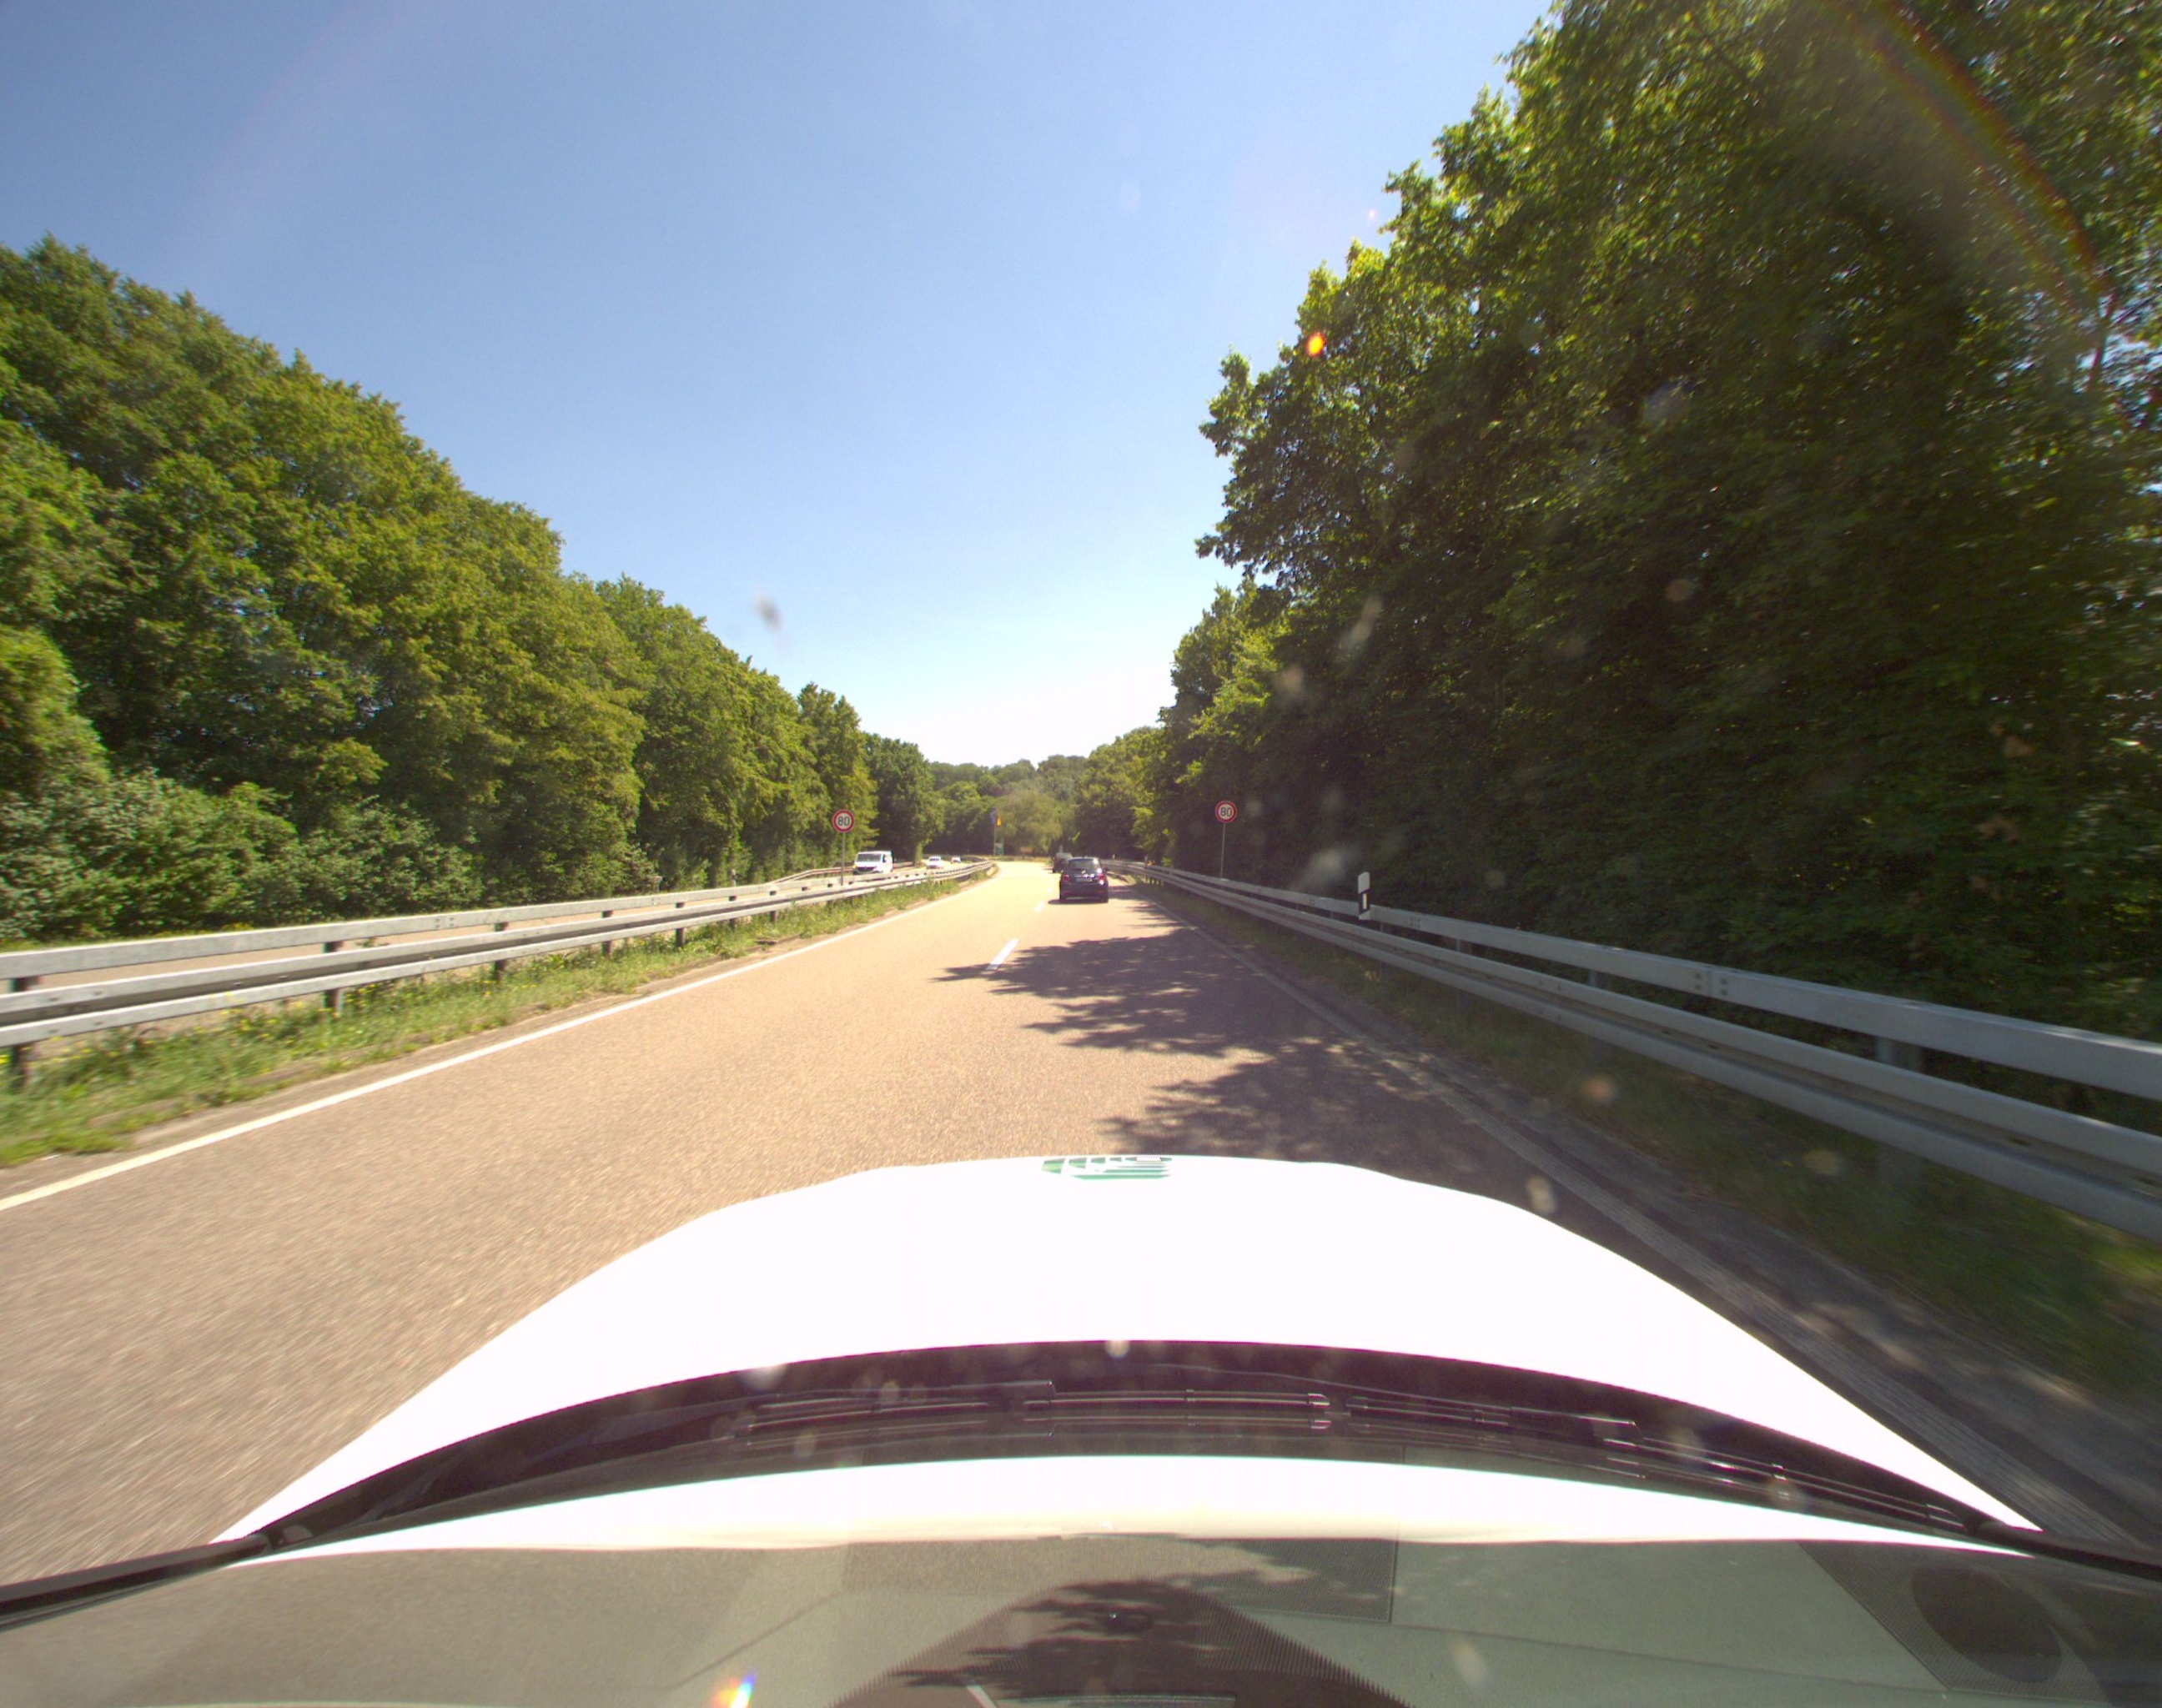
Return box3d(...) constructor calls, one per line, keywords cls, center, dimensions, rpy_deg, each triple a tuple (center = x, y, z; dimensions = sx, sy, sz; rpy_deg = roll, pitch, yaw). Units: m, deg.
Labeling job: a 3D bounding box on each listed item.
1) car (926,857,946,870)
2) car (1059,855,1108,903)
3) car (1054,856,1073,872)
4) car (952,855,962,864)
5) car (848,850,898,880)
box3d(cls="car", center=(-16.439, 1.046, 92.263), dimensions=(1.647, 1.447, 4.216), rpy_deg=(-1, 0, -2))
box3d(cls="car", center=(0.117, 0.792, 27.591), dimensions=(1.508, 1.501, 3.590), rpy_deg=(-1, 0, 1))
box3d(cls="car", center=(-1.521, 0.851, 69.500), dimensions=(1.522, 1.313, 3.411), rpy_deg=(-1, 0, -3))
box3d(cls="car", center=(-24.793, 1.103, 162.924), dimensions=(1.649, 1.606, 4.211), rpy_deg=(-1, 0, -6))
box3d(cls="car", center=(-14.229, 0.732, 56.059), dimensions=(1.983, 1.951, 5.637), rpy_deg=(-1, 0, -1))
